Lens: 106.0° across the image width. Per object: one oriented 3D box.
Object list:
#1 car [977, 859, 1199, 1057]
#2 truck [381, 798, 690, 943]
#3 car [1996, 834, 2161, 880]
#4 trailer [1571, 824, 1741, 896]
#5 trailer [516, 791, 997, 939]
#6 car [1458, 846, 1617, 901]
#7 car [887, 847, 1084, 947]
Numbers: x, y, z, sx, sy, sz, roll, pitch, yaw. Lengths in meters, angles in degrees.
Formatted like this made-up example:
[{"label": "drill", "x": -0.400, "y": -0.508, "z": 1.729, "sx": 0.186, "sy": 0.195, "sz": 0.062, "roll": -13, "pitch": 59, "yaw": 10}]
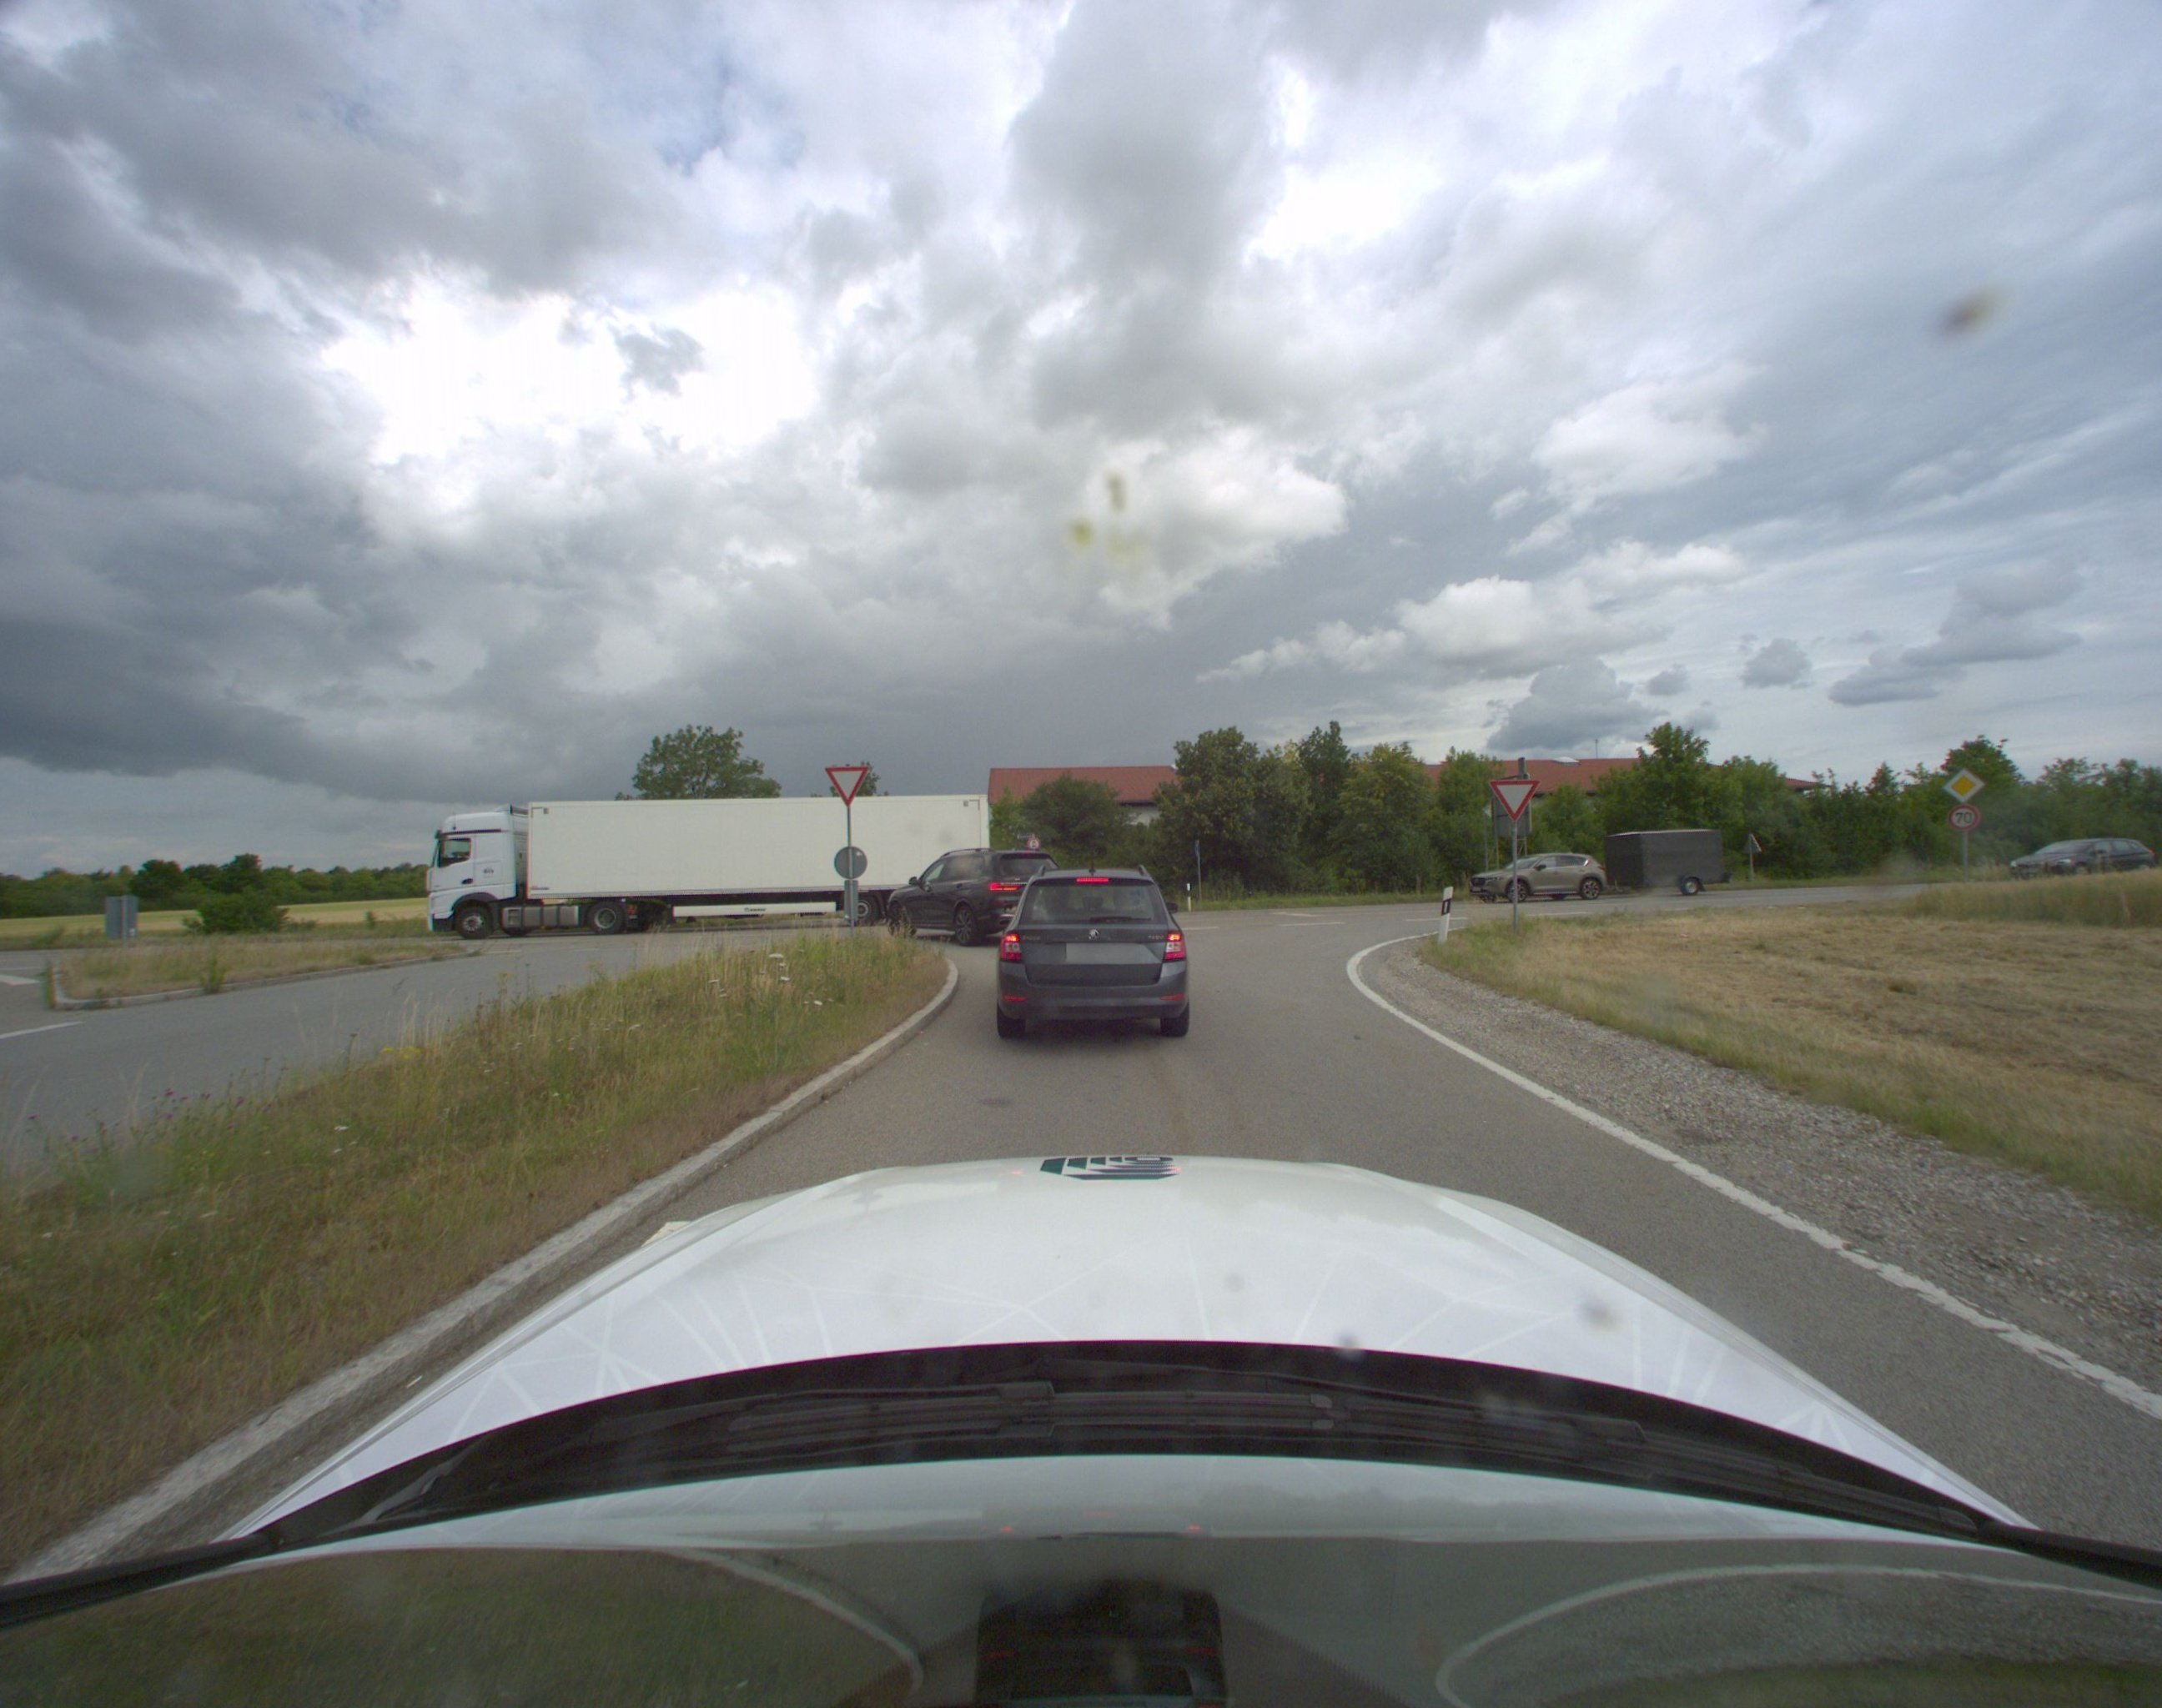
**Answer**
[{"label": "car", "x": 0.030, "y": 0.805, "z": 8.079, "sx": 1.671, "sy": 1.462, "sz": 3.706, "roll": -1, "pitch": 0, "yaw": -1}, {"label": "truck", "x": -16.591, "y": 0.500, "z": 25.300, "sx": 7.274, "sy": 4.015, "sz": 3.122, "roll": -2, "pitch": -2, "yaw": -6}, {"label": "car", "x": 37.264, "y": 0.115, "z": 30.390, "sx": 4.282, "sy": 1.487, "sz": 1.995, "roll": -3, "pitch": -1, "yaw": -6}, {"label": "trailer", "x": 20.294, "y": 0.225, "z": 28.876, "sx": 4.378, "sy": 2.293, "sz": 2.411, "roll": -2, "pitch": -2, "yaw": -7}, {"label": "trailer", "x": -9.724, "y": 0.308, "z": 26.014, "sx": 13.823, "sy": 4.015, "sz": 3.122, "roll": -2, "pitch": -2, "yaw": -6}, {"label": "car", "x": 15.786, "y": 0.684, "z": 28.264, "sx": 4.461, "sy": 1.682, "sz": 1.994, "roll": -2, "pitch": -2, "yaw": -8}, {"label": "car", "x": -2.126, "y": 0.836, "z": 16.842, "sx": 2.009, "sy": 1.775, "sz": 4.592, "roll": 0, "pitch": -2, "yaw": -37}]
